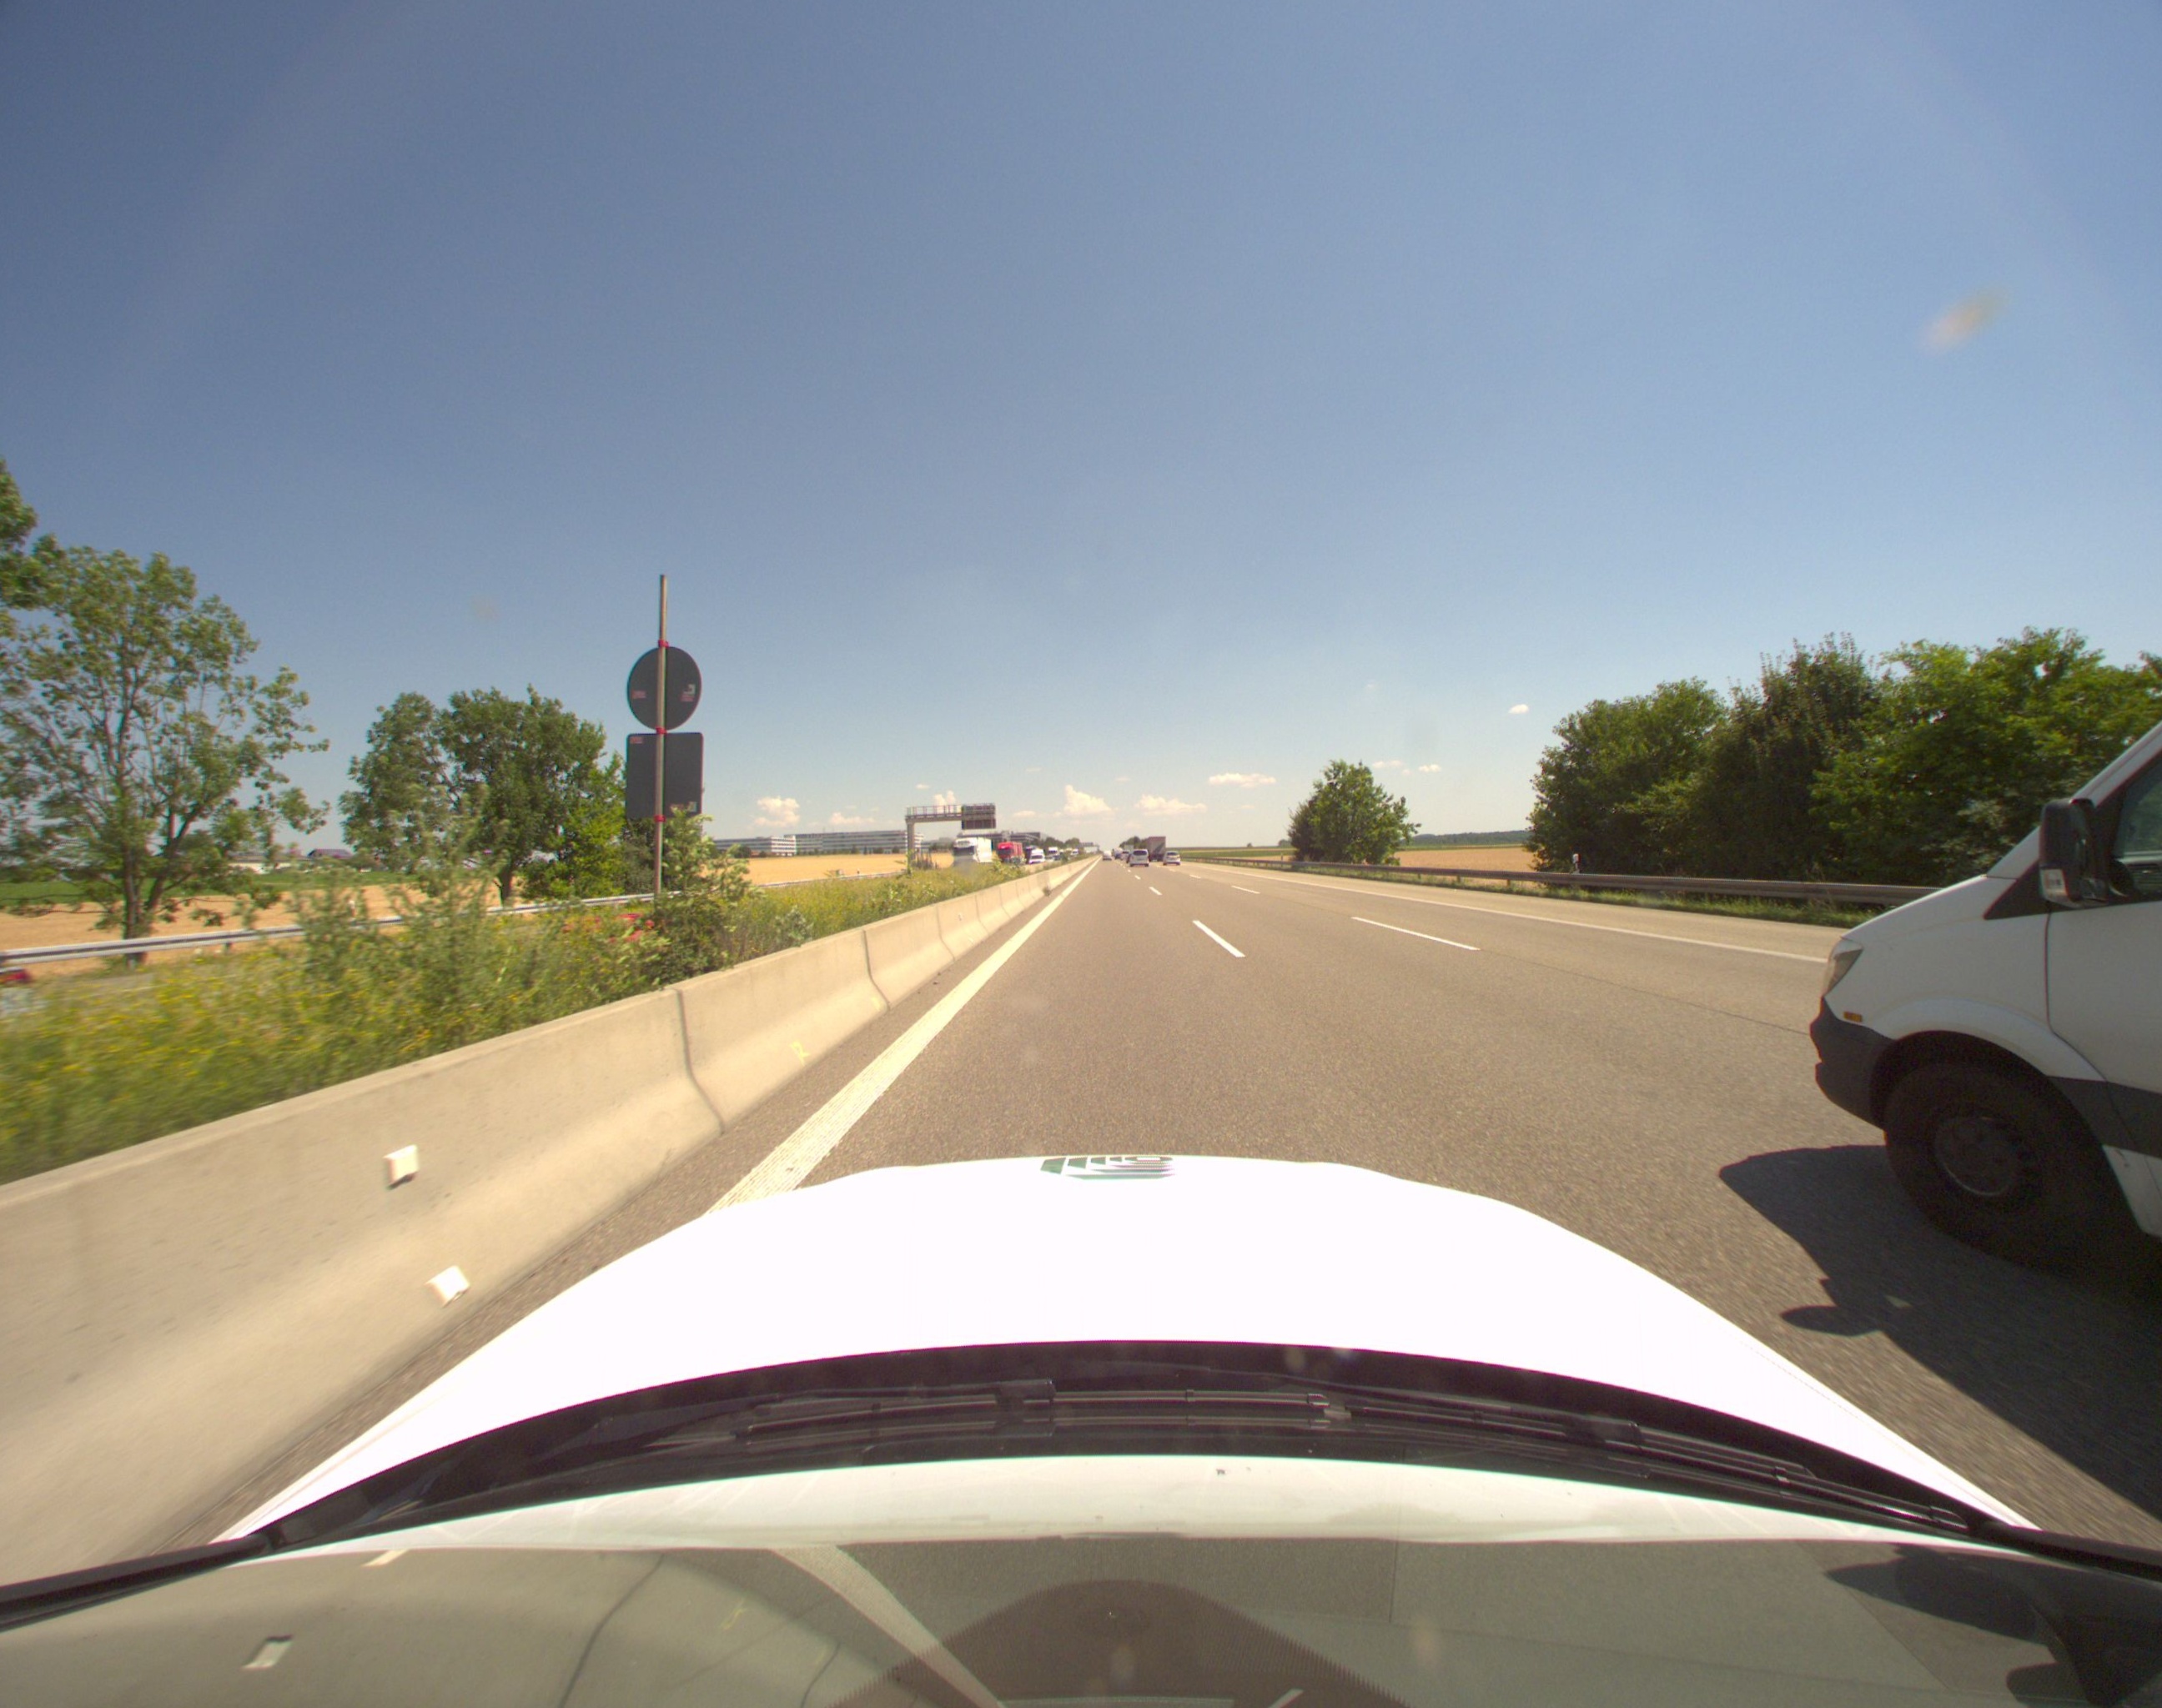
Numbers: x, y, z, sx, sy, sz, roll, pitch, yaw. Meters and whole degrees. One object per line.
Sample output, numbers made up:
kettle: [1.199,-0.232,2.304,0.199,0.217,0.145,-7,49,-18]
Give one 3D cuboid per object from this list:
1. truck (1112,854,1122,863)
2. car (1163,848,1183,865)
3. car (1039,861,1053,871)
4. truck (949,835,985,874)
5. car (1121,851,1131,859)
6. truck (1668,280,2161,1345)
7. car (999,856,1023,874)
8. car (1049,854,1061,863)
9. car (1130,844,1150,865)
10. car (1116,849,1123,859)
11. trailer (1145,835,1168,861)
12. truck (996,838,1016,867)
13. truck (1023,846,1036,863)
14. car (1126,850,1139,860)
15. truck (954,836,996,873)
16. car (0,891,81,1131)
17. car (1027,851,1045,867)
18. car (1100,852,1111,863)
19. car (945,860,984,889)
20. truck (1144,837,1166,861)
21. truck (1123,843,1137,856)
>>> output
truck: [8.081,1.029,183.546,2.204,2.013,4.972,-2,0,1]
car: [10.743,0.314,95.485,1.986,1.794,4.001,-1,-1,2]
car: [-4.978,1.680,116.364,1.810,1.350,3.774,-2,0,1]
truck: [-13.083,0.037,93.778,2.939,4.158,5.472,-3,0,1]
car: [8.984,0.238,163.182,1.767,1.447,4.001,-1,-1,2]
truck: [4.248,-0.120,0.970,2.313,3.067,6.752,-1,0,1]
car: [-6.060,0.930,70.824,1.667,1.487,4.398,-2,0,1]
car: [-4.260,0.753,134.180,1.712,1.350,3.774,-2,0,1]
car: [6.366,0.066,87.941,1.986,2.120,4.001,-1,-1,2]
car: [10.308,0.032,216.932,1.767,2.392,4.001,-1,-1,2]
trailer: [12.465,-0.885,134.948,3.265,3.967,9.115,-1,-1,2]
truck: [-12.422,-0.253,135.580,2.766,4.598,4.724,-2,0,1]
truck: [-10.941,0.134,174.417,2.102,3.600,7.122,-2,0,1]
car: [7.416,0.172,118.124,1.767,1.447,4.001,-1,-1,2]
truck: [-12.934,0.015,100.325,2.939,4.158,12.870,-3,0,1]
car: [-8.068,1.074,3.414,1.755,1.550,4.730,-2,0,3]
car: [-5.451,0.590,98.594,1.810,1.753,4.994,-2,0,1]
car: [4.784,0.614,156.726,1.986,2.014,4.001,-1,-1,2]
car: [-6.433,1.103,45.416,1.534,1.487,3.773,-2,0,1]
truck: [12.601,-0.815,139.219,3.259,3.967,4.914,-1,-1,2]
truck: [15.553,-1.373,258.194,3.802,3.905,9.583,-2,0,1]
